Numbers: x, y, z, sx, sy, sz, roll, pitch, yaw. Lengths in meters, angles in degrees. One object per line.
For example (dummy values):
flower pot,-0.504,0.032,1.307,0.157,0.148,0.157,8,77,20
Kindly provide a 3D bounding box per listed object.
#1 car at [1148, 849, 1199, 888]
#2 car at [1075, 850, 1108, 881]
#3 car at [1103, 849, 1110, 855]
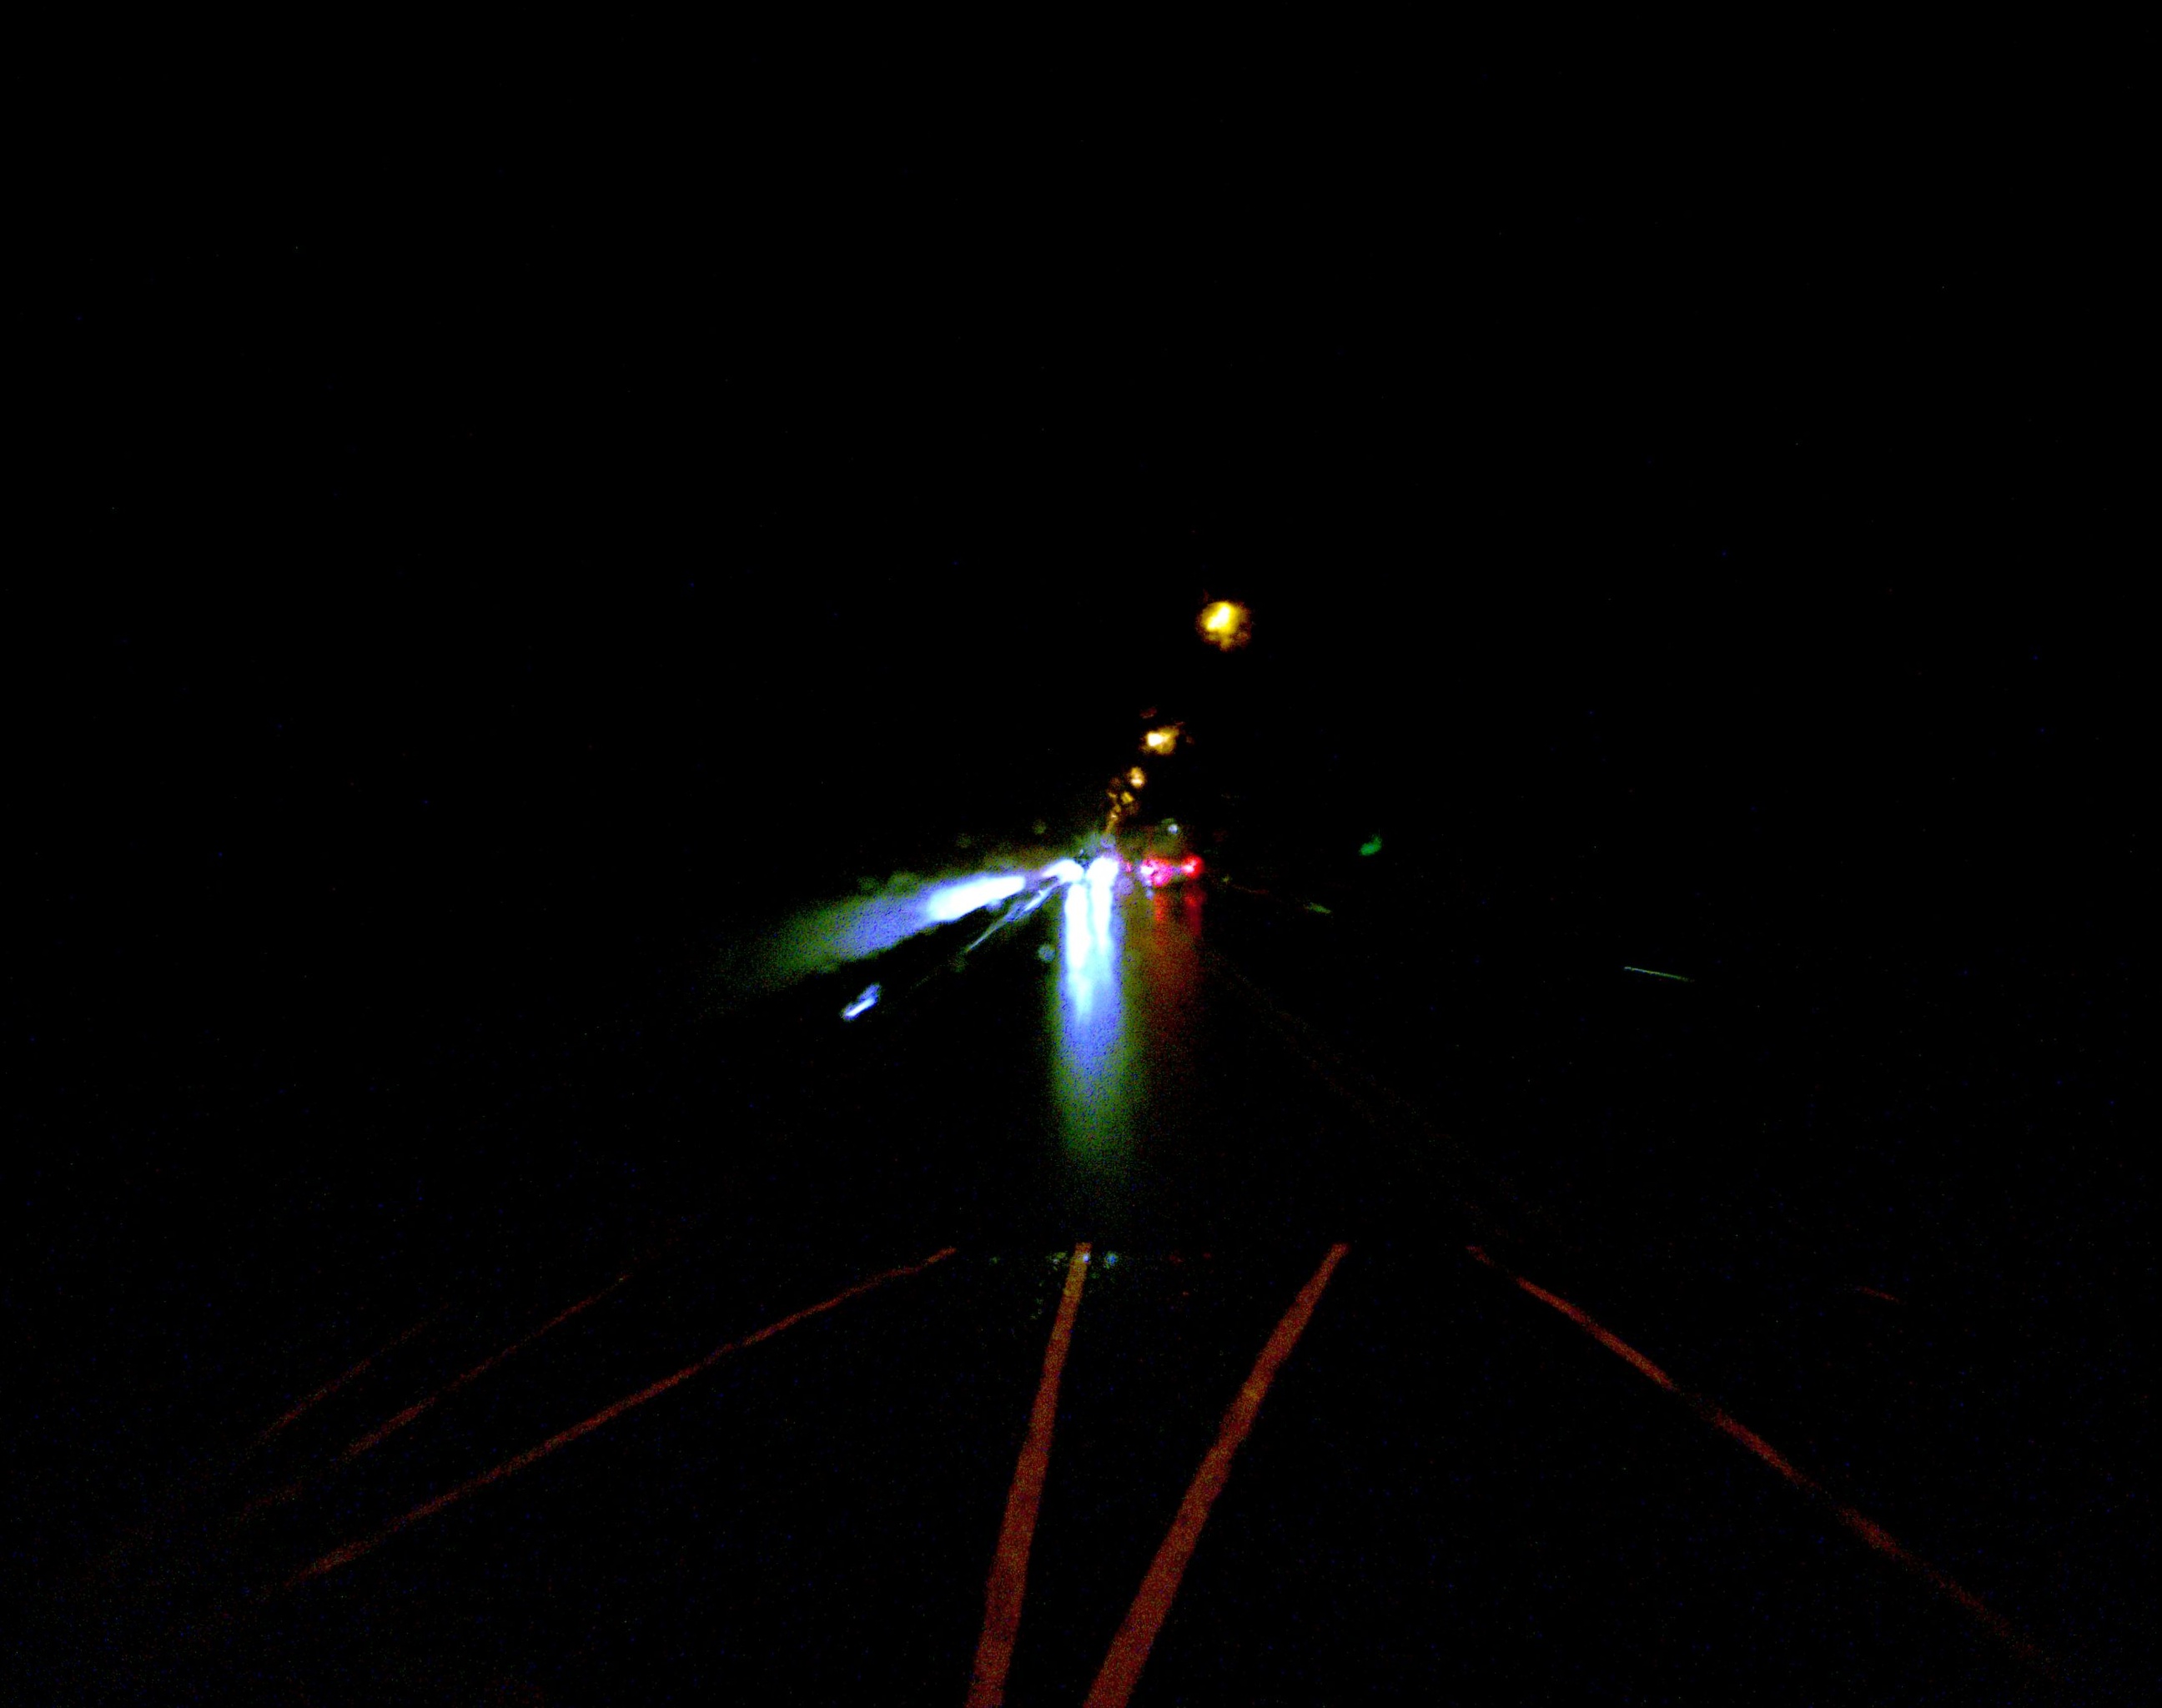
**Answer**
car,3.846,0.566,32.039,1.664,1.481,3.963,-2,0,1
car,0.658,0.610,43.905,1.730,1.595,4.000,-4,1,2
car,7.496,-0.471,221.961,1.888,1.595,4.000,-4,1,3
